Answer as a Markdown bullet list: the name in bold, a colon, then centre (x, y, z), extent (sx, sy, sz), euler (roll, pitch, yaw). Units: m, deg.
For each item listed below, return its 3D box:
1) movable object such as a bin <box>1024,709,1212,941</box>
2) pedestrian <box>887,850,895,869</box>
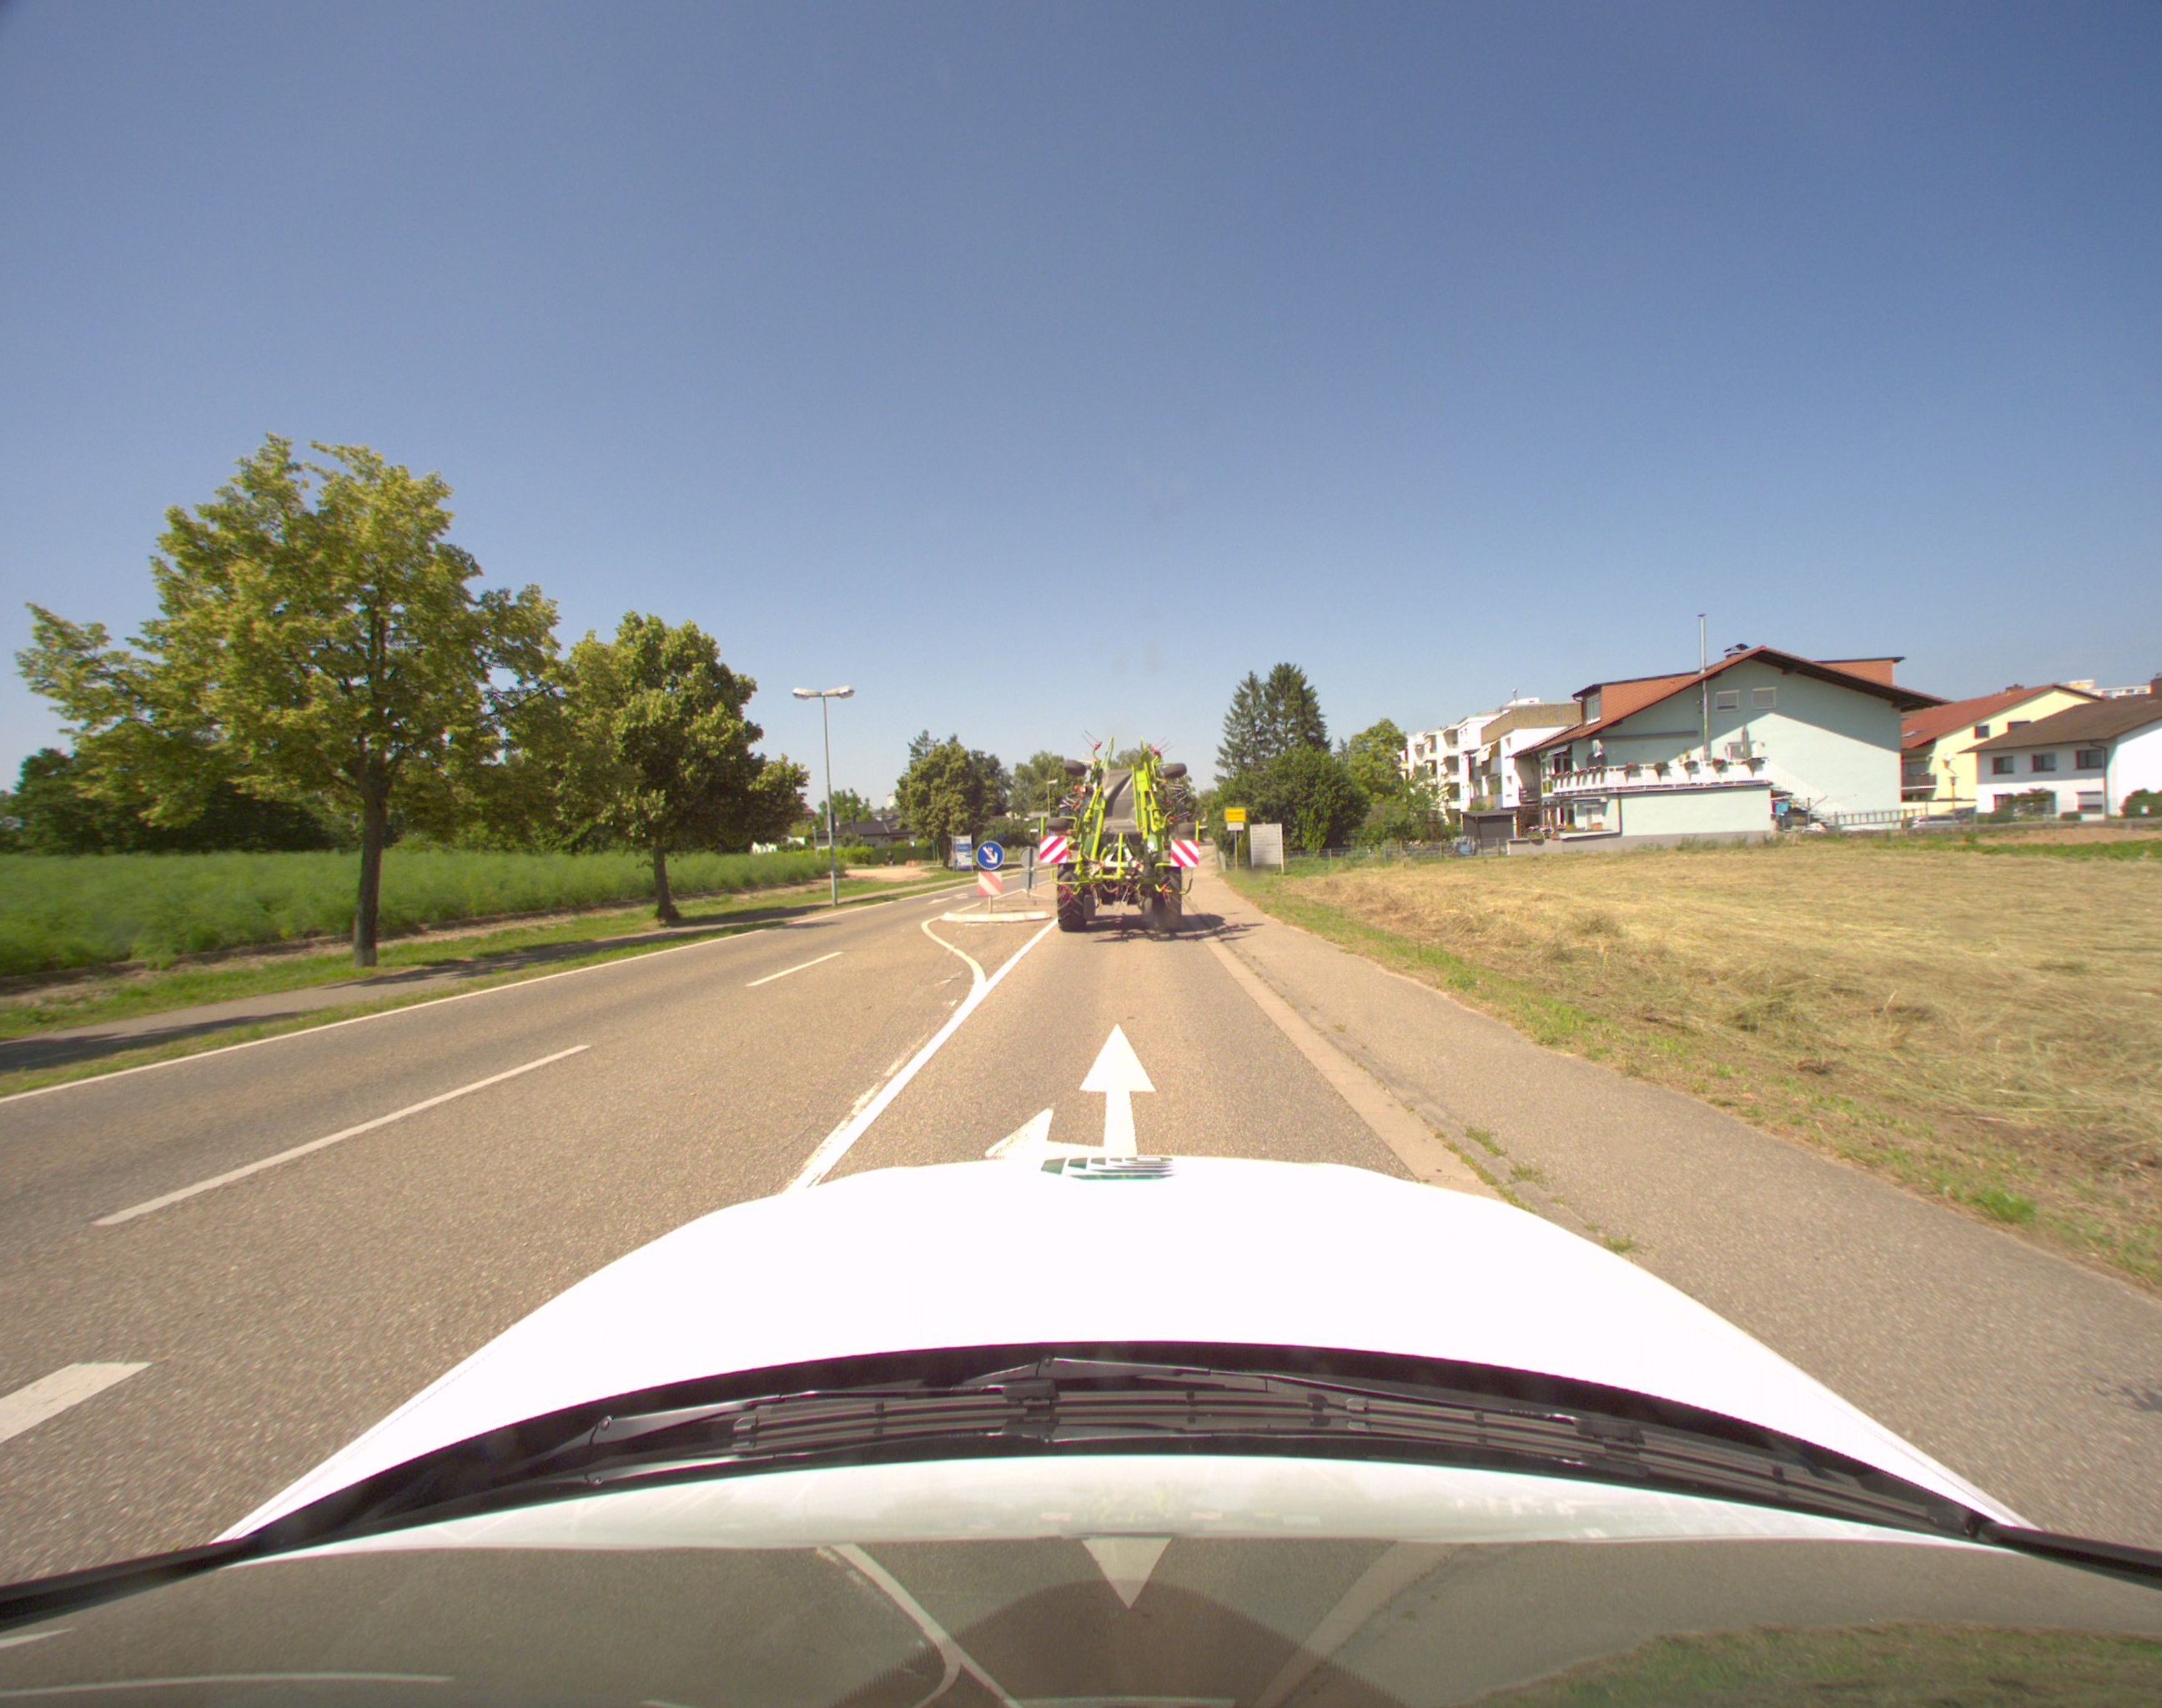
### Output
- **movable object such as a bin**: centre (0.755, -0.444, 17.539), extent (2.842, 3.541, 9.705), euler (-1, 0, 2)
- **pedestrian**: centre (-17.324, 0.515, 74.363), extent (0.674, 1.716, 0.549), euler (-1, 0, -10)
